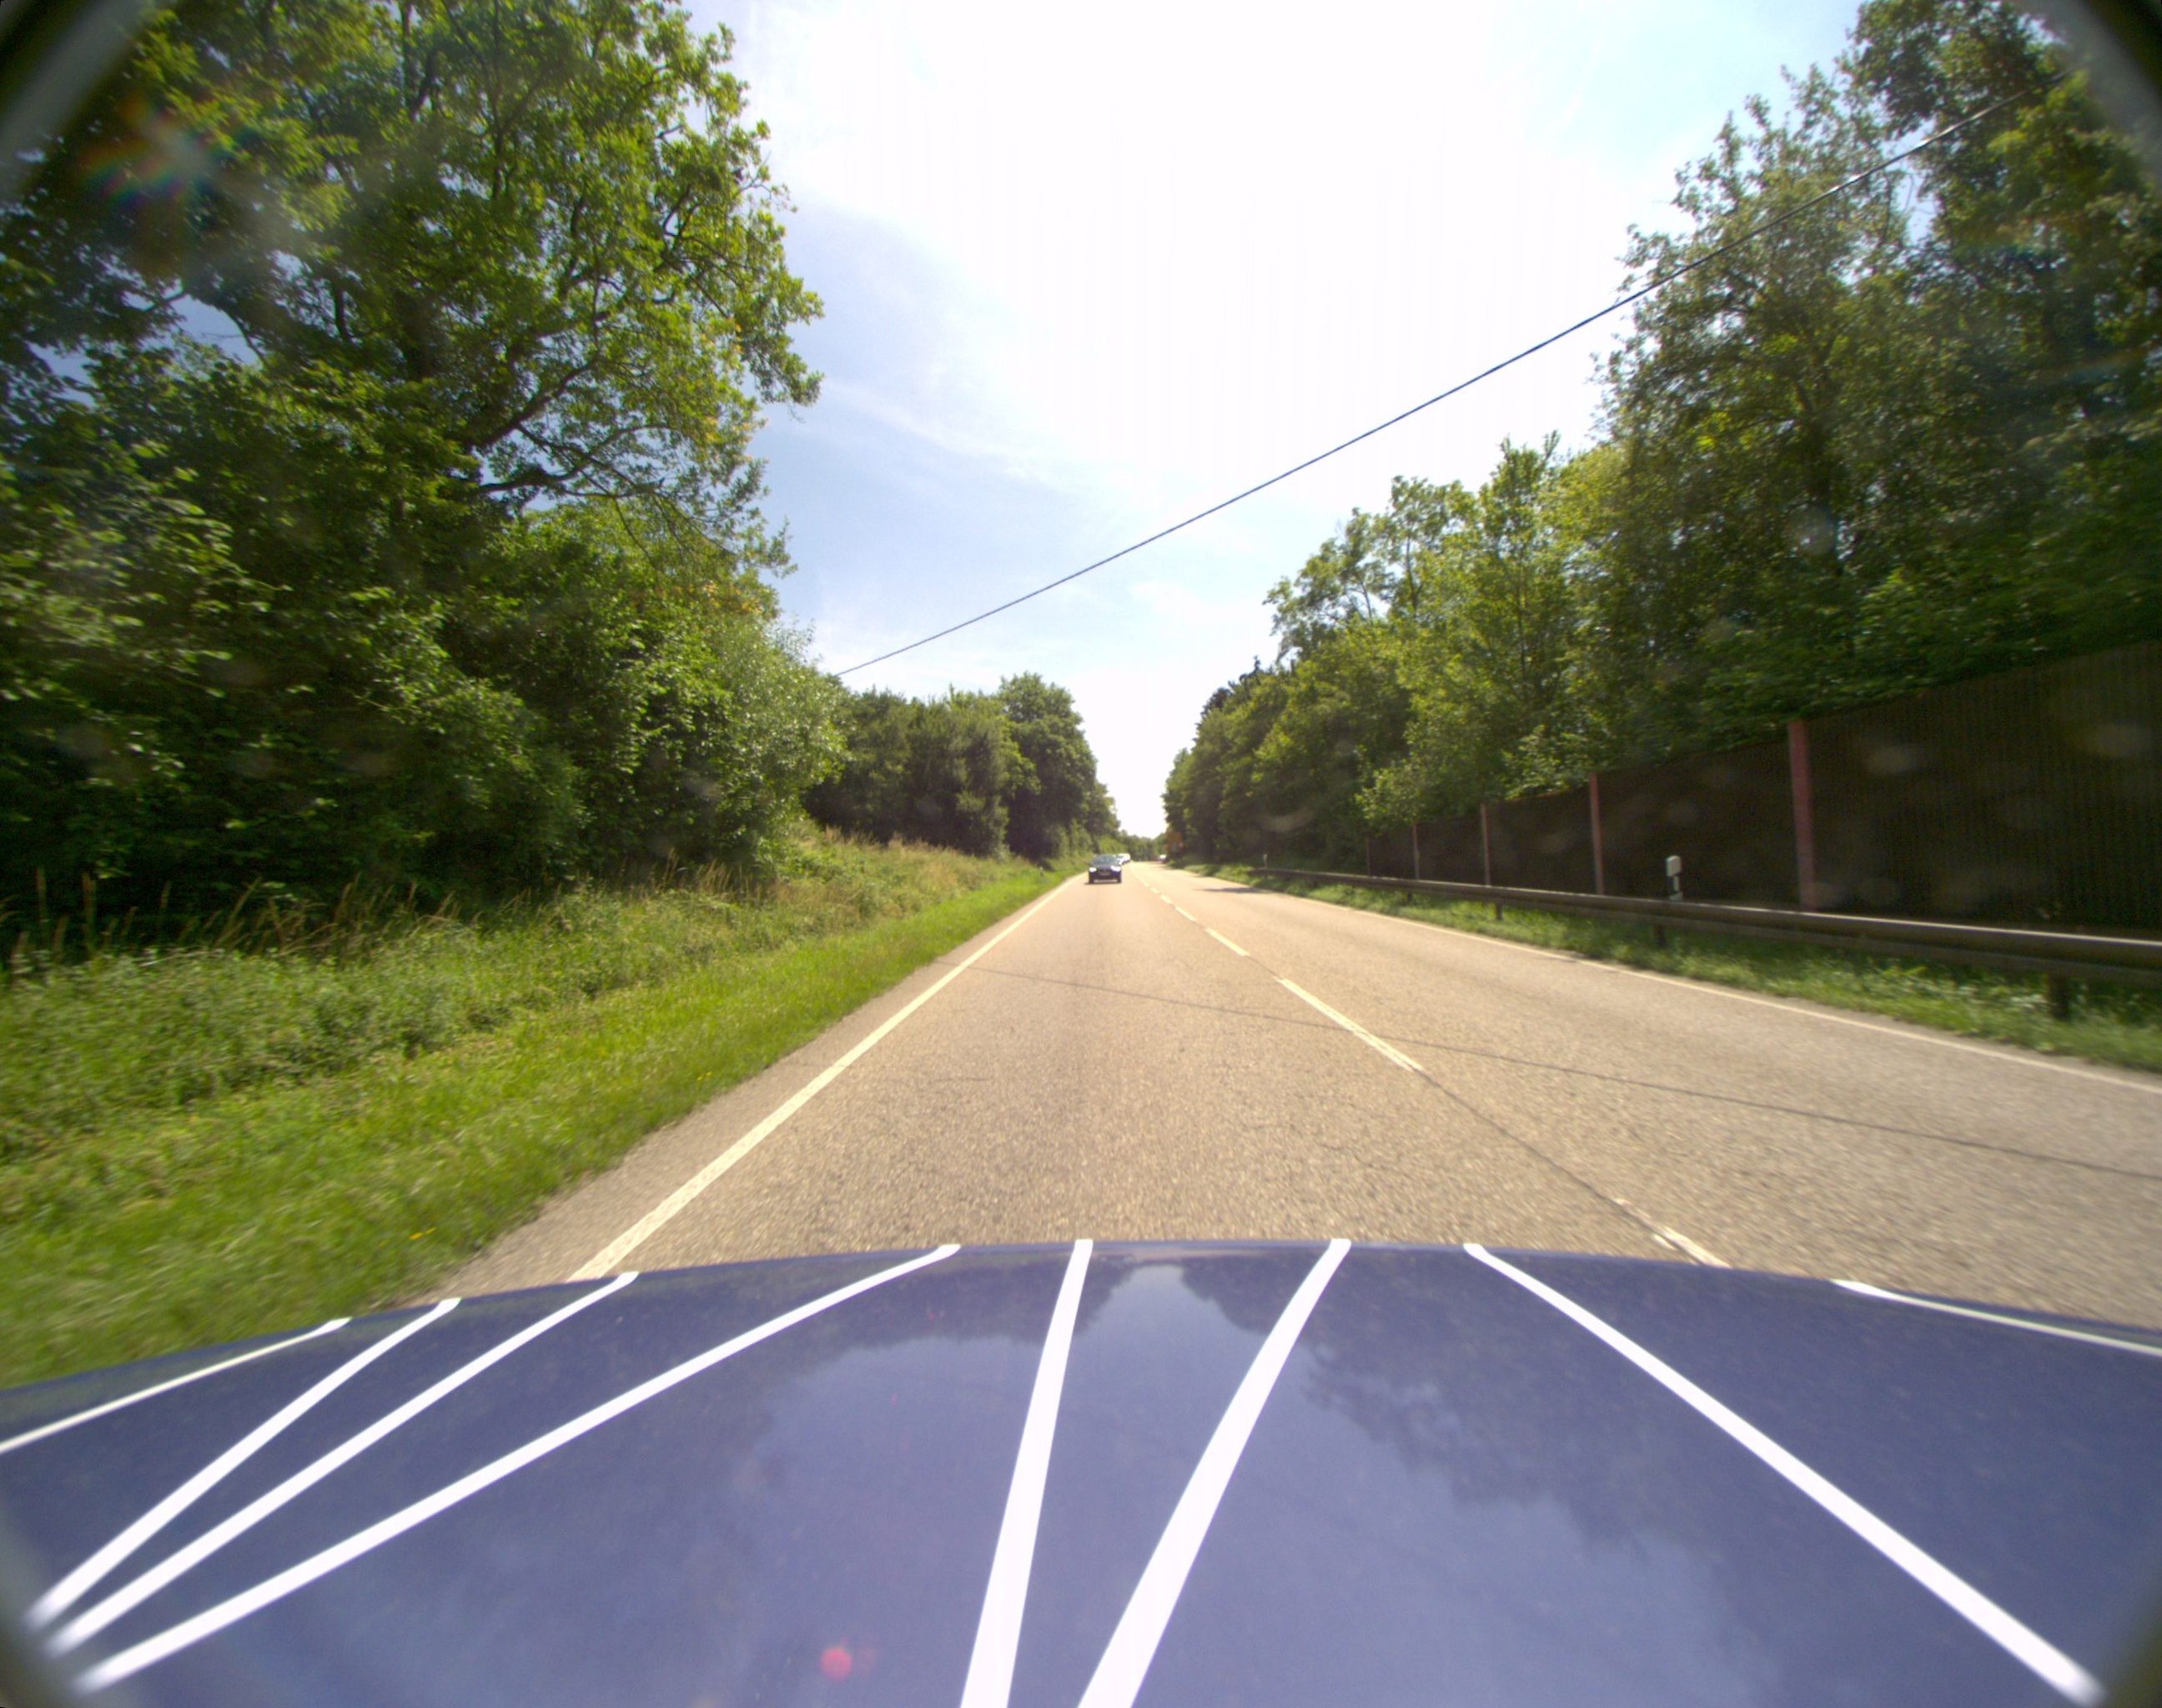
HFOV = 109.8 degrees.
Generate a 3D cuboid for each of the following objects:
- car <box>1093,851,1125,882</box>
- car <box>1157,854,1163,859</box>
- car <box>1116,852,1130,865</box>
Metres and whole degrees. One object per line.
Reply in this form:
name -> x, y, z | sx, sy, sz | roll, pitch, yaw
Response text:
car -> 1.505, 0.662, 41.146 | 1.626, 1.535, 4.001 | -1, 0, 2
car -> 26.235, 0.858, 252.376 | 1.807, 1.444, 4.390 | -2, -1, 10
car -> 6.017, 0.685, 108.707 | 1.770, 1.673, 4.002 | -4, -1, 4
